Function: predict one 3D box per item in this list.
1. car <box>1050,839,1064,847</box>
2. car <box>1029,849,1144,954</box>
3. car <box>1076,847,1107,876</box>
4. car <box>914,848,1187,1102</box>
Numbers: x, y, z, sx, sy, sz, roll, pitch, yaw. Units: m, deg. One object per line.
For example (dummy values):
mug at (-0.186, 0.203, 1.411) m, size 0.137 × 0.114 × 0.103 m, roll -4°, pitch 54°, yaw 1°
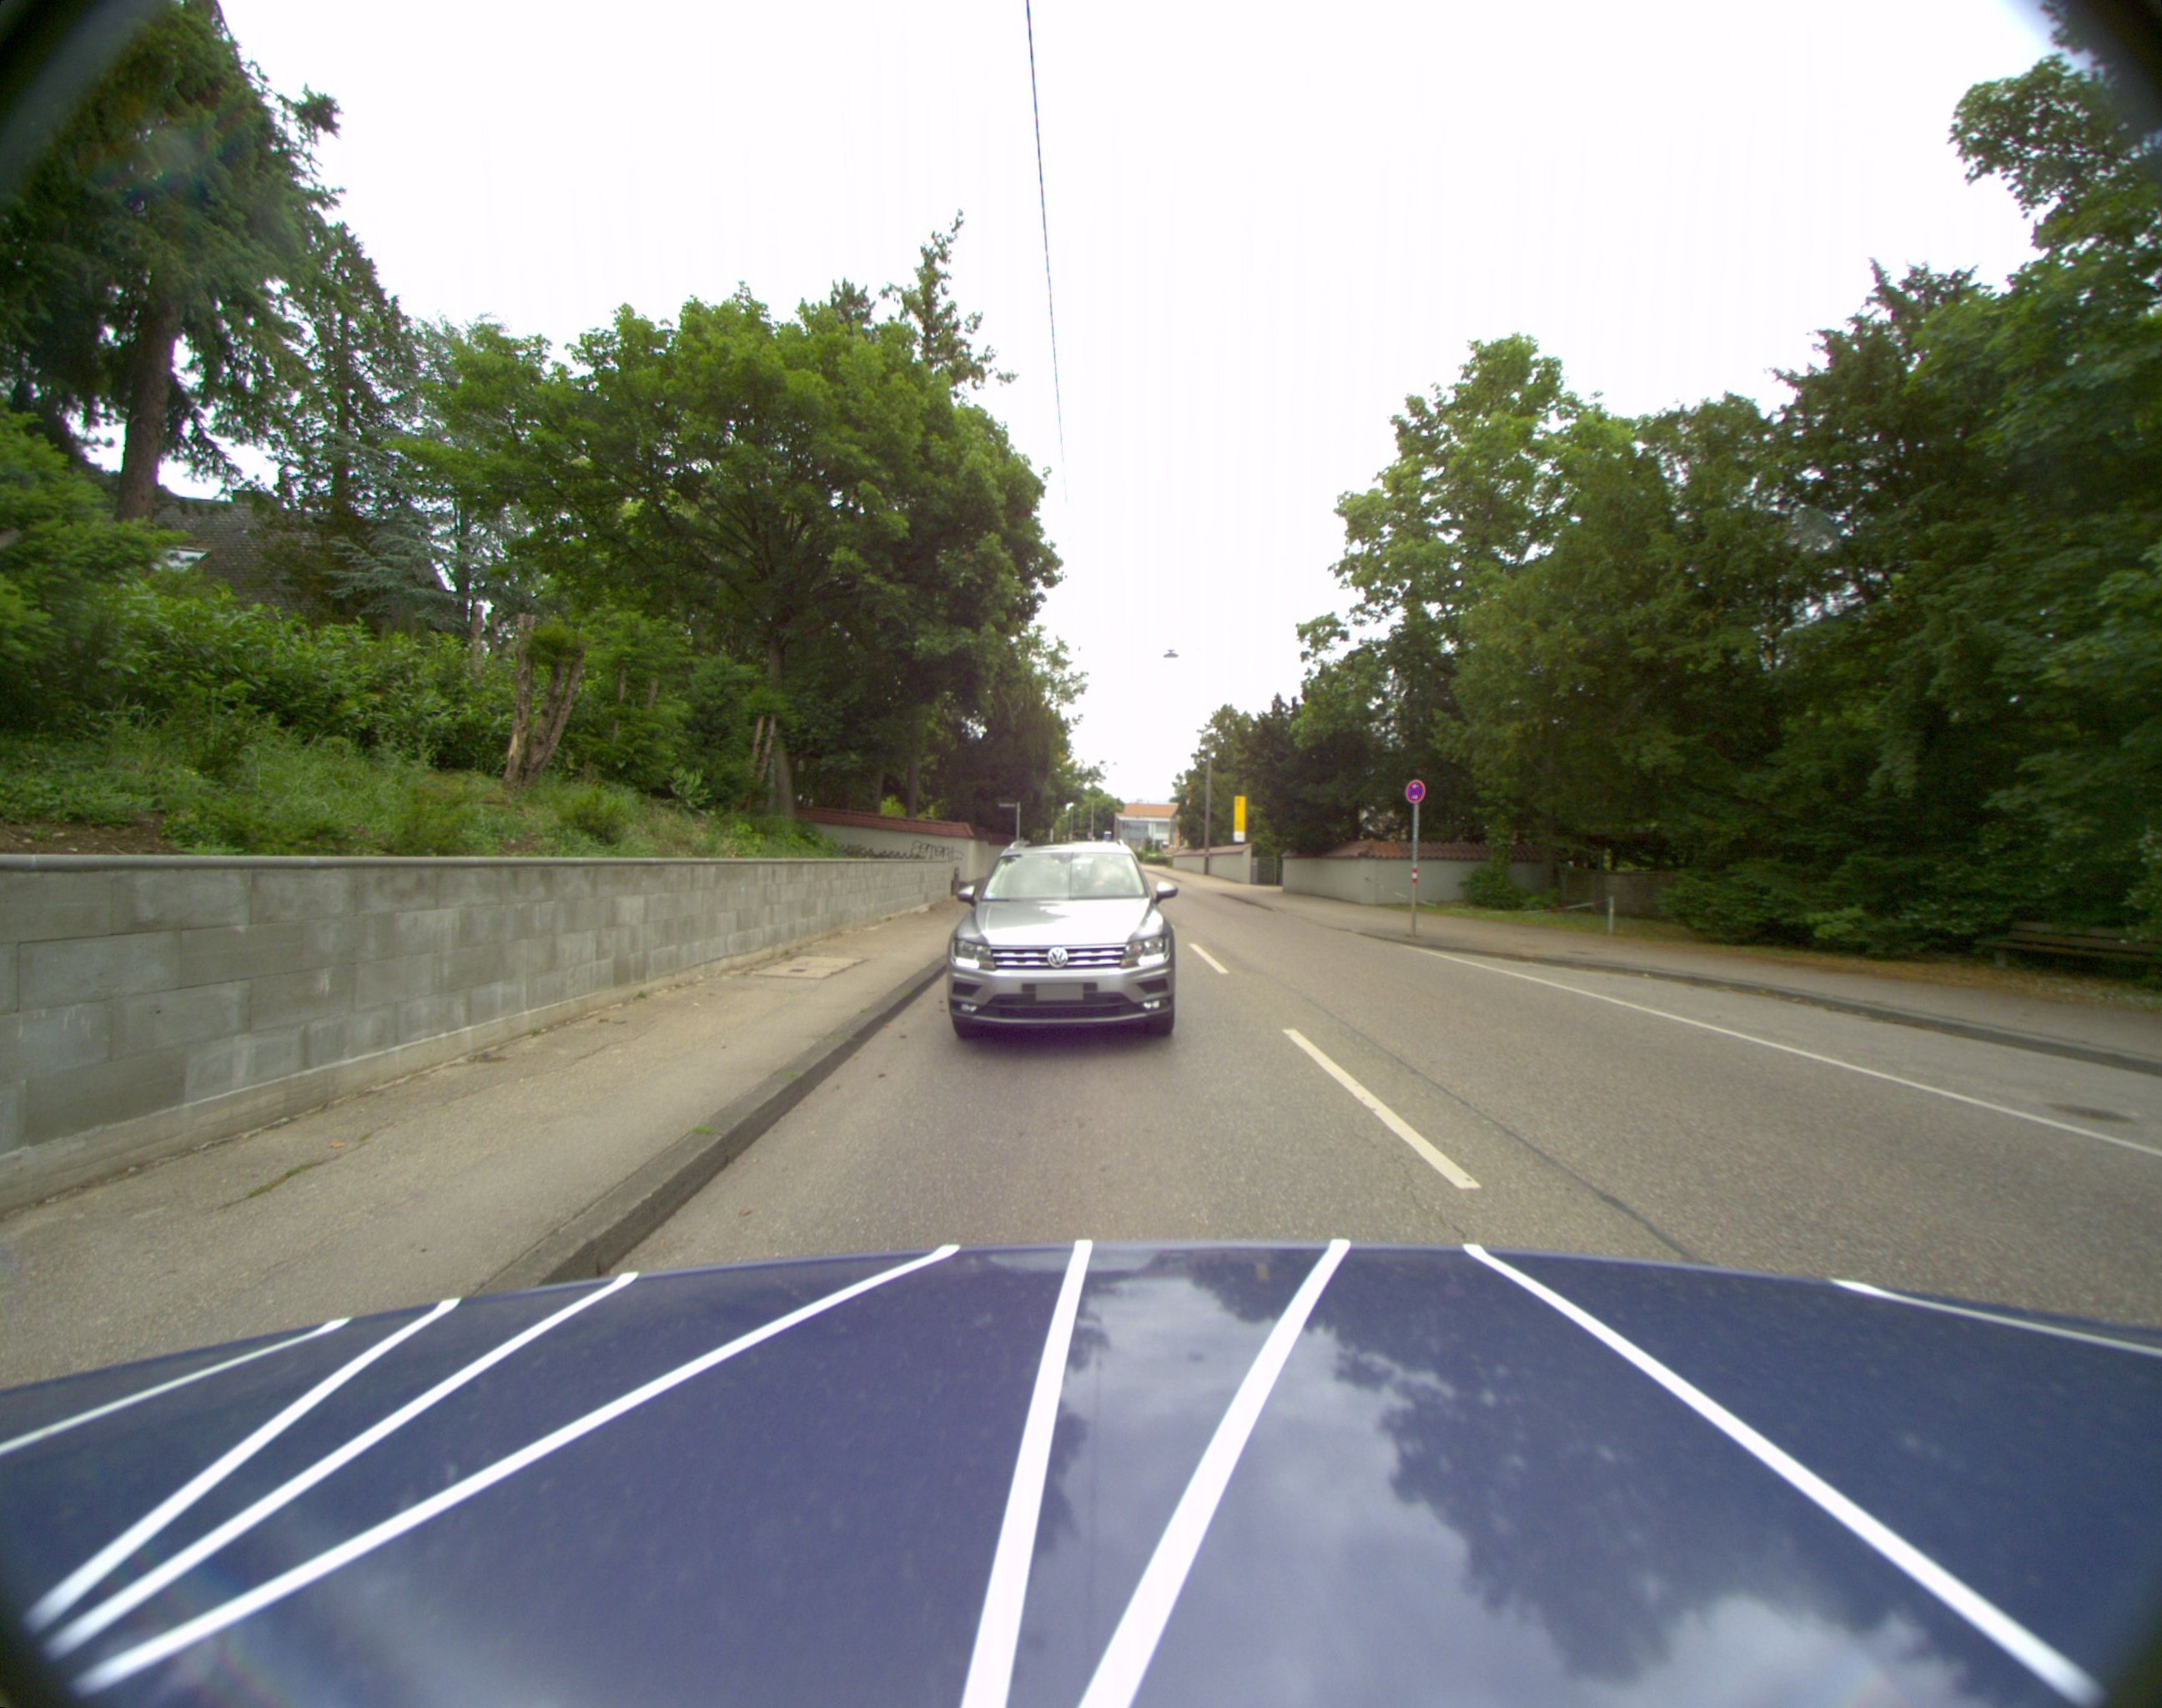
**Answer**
car at (-4.765, -2.194, 149.554) m, size 1.879 × 1.647 × 4.250 m, roll 0°, pitch 1°, yaw -12°
car at (0.101, 0.733, 14.294) m, size 1.820 × 1.647 × 4.487 m, roll 0°, pitch 1°, yaw 0°
car at (0.614, 0.423, 47.166) m, size 1.820 × 1.733 × 4.487 m, roll 0°, pitch 1°, yaw 0°
car at (-0.193, 0.808, 7.518) m, size 1.820 × 1.690 × 4.718 m, roll -1°, pitch 0°, yaw 0°
